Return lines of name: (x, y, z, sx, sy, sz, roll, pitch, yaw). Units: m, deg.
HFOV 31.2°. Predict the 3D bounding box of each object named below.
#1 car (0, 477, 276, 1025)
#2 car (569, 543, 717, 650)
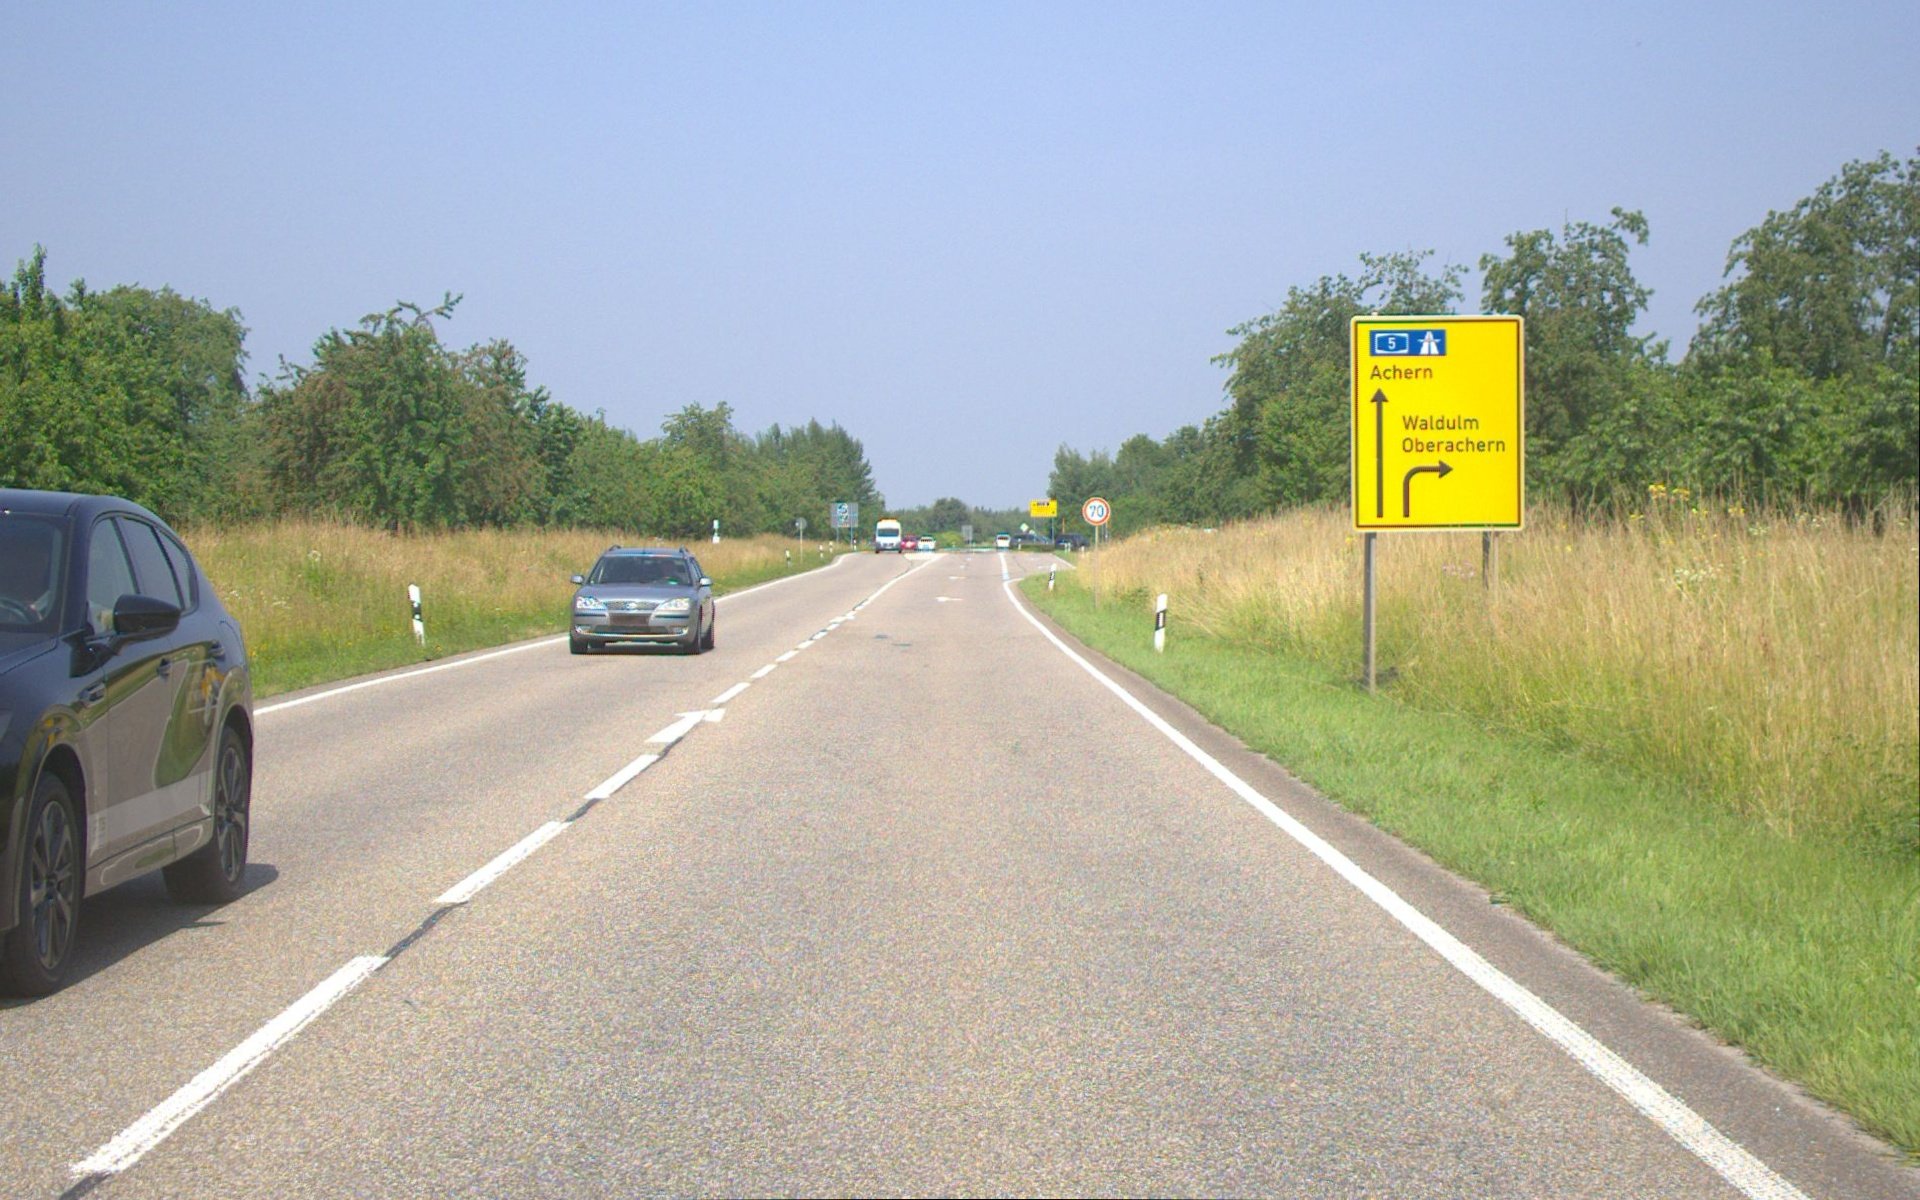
car: (-3.839, 0.419, 12.667, 1.836, 1.672, 4.411, 0, 1, -1)
car: (-4.362, -0.091, 47.836, 1.690, 1.404, 4.895, 0, 1, -1)
